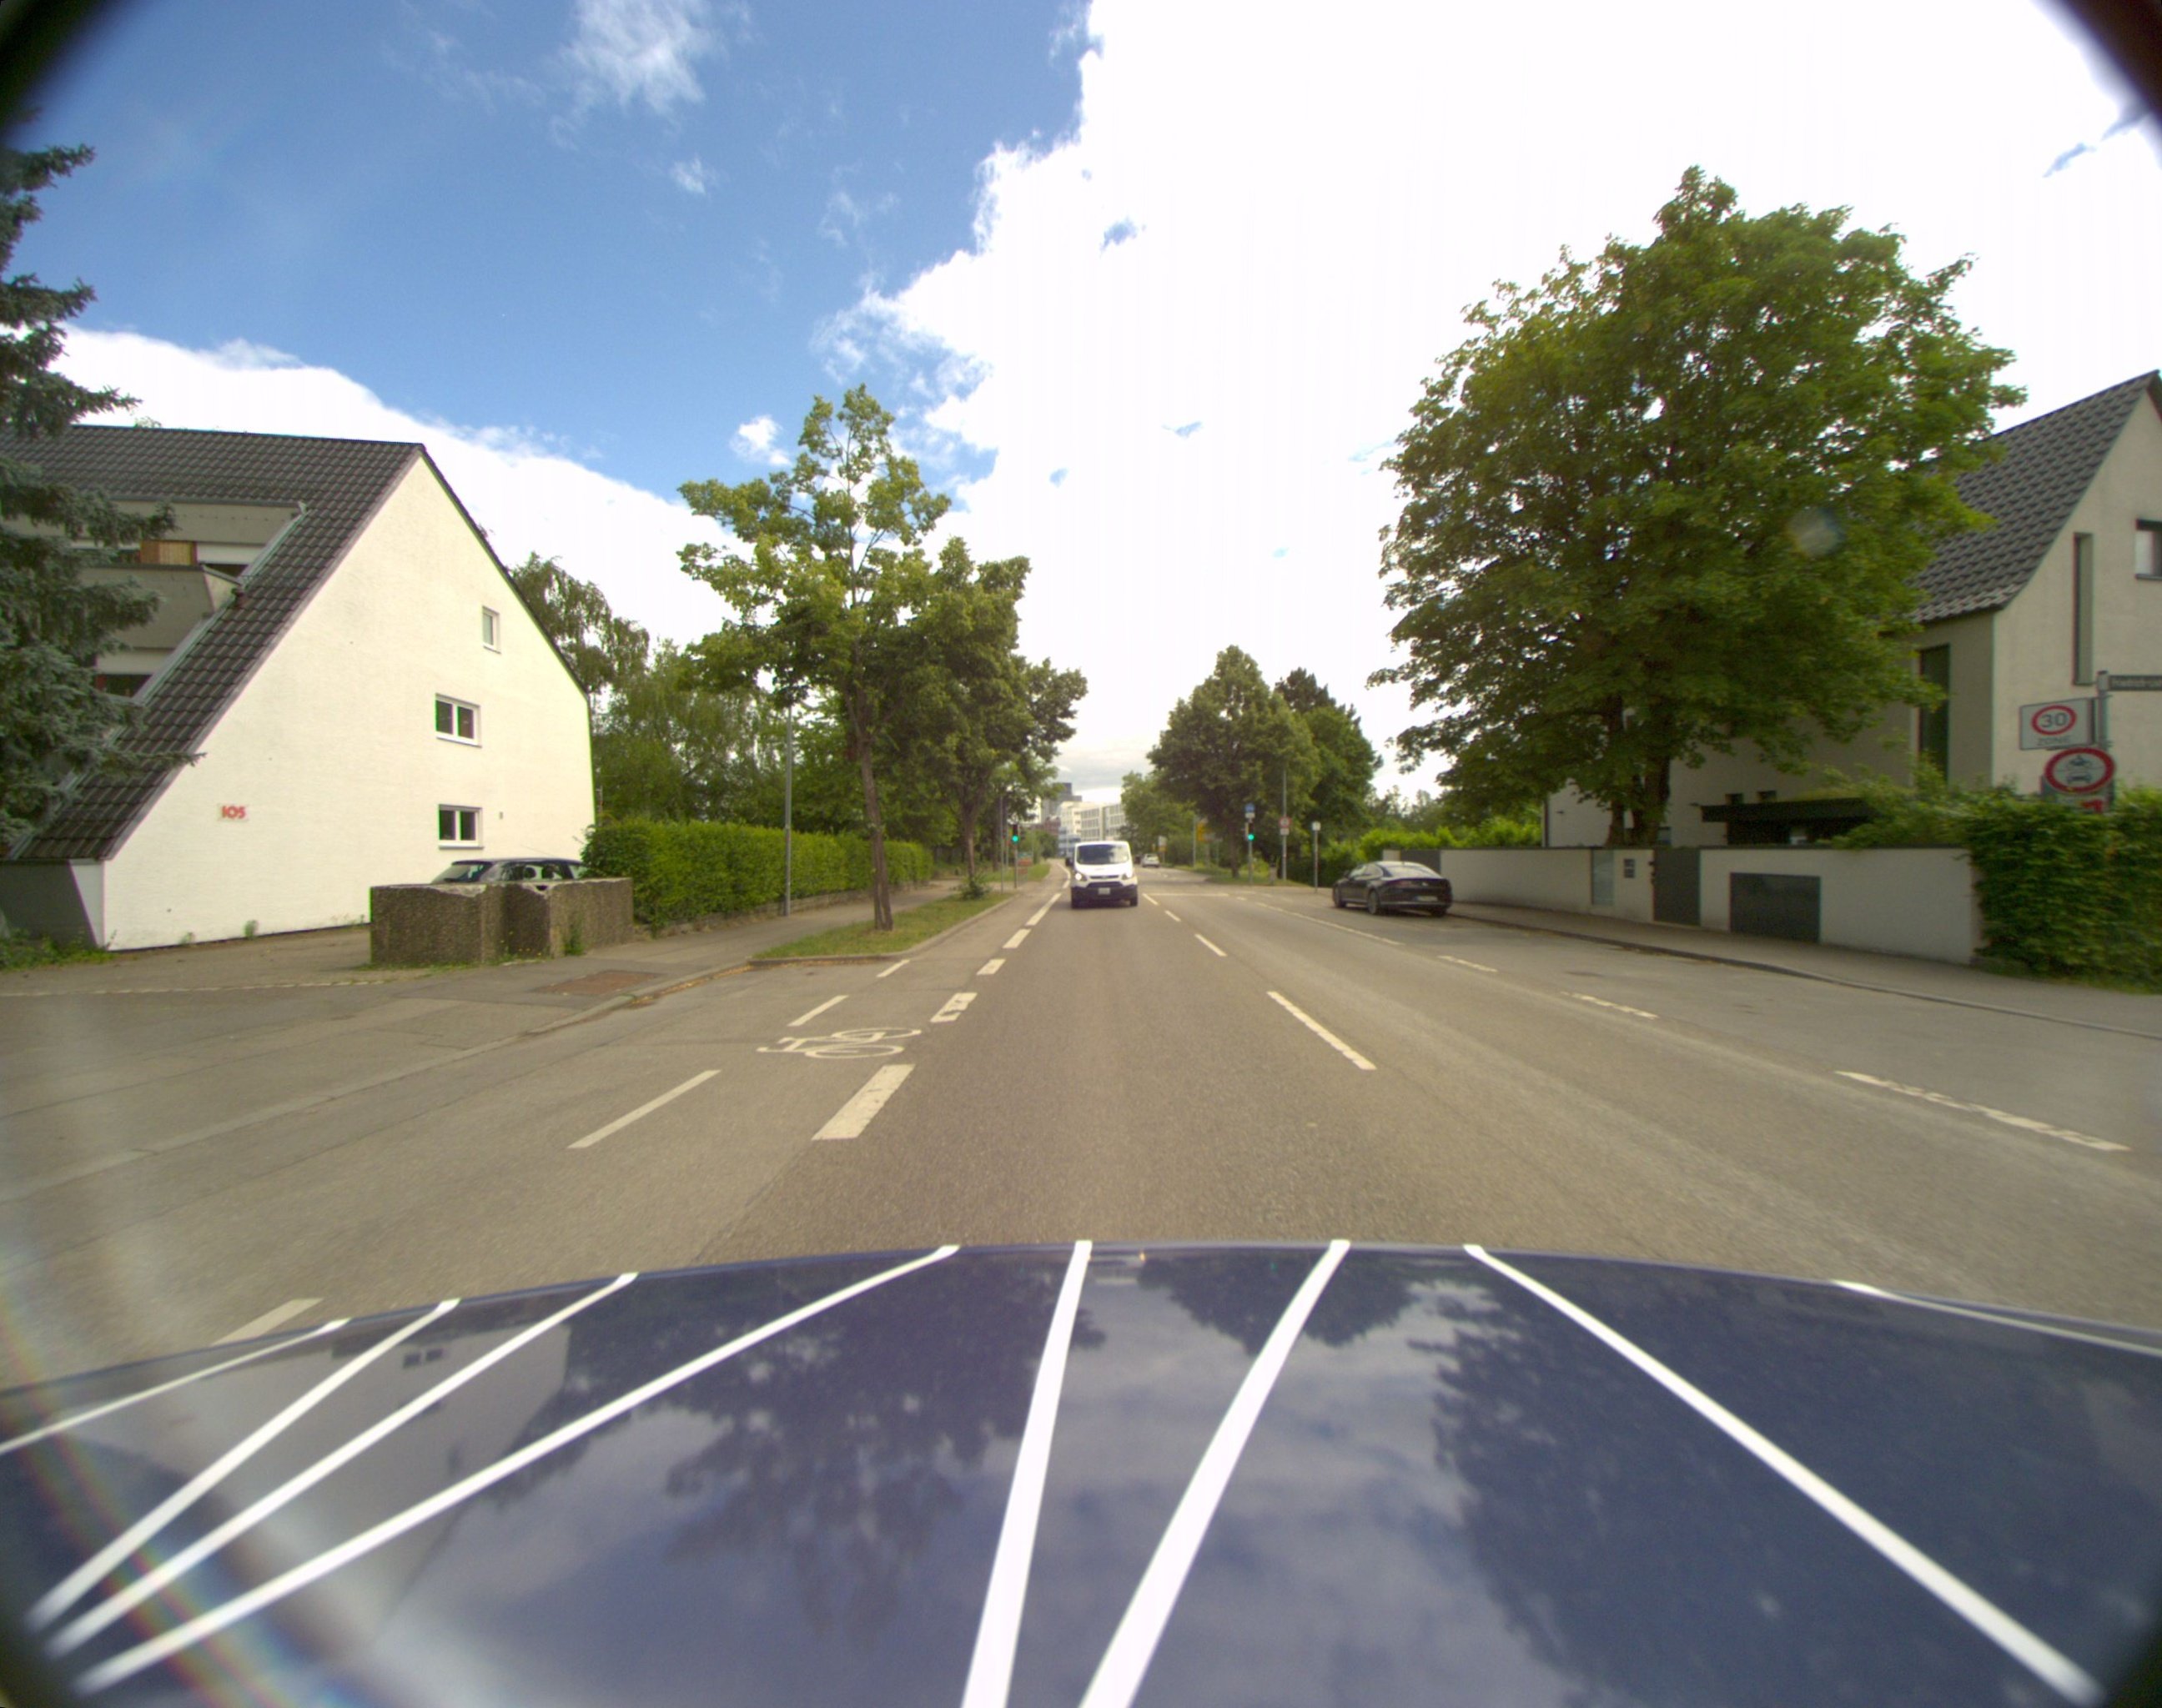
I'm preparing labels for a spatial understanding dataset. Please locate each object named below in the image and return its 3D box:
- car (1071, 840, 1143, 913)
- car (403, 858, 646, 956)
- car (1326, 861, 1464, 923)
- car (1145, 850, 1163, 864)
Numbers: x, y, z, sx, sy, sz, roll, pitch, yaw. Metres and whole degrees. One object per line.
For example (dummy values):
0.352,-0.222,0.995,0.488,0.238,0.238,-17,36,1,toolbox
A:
0.786,0.614,24.159,1.998,2.002,5.188,-2,1,1,car
-10.157,0.873,14.111,1.647,1.559,3.225,0,0,25,car
8.438,0.949,20.965,1.750,1.400,4.927,1,0,0,car
8.697,0.397,91.122,1.786,1.622,4.000,0,0,0,car
